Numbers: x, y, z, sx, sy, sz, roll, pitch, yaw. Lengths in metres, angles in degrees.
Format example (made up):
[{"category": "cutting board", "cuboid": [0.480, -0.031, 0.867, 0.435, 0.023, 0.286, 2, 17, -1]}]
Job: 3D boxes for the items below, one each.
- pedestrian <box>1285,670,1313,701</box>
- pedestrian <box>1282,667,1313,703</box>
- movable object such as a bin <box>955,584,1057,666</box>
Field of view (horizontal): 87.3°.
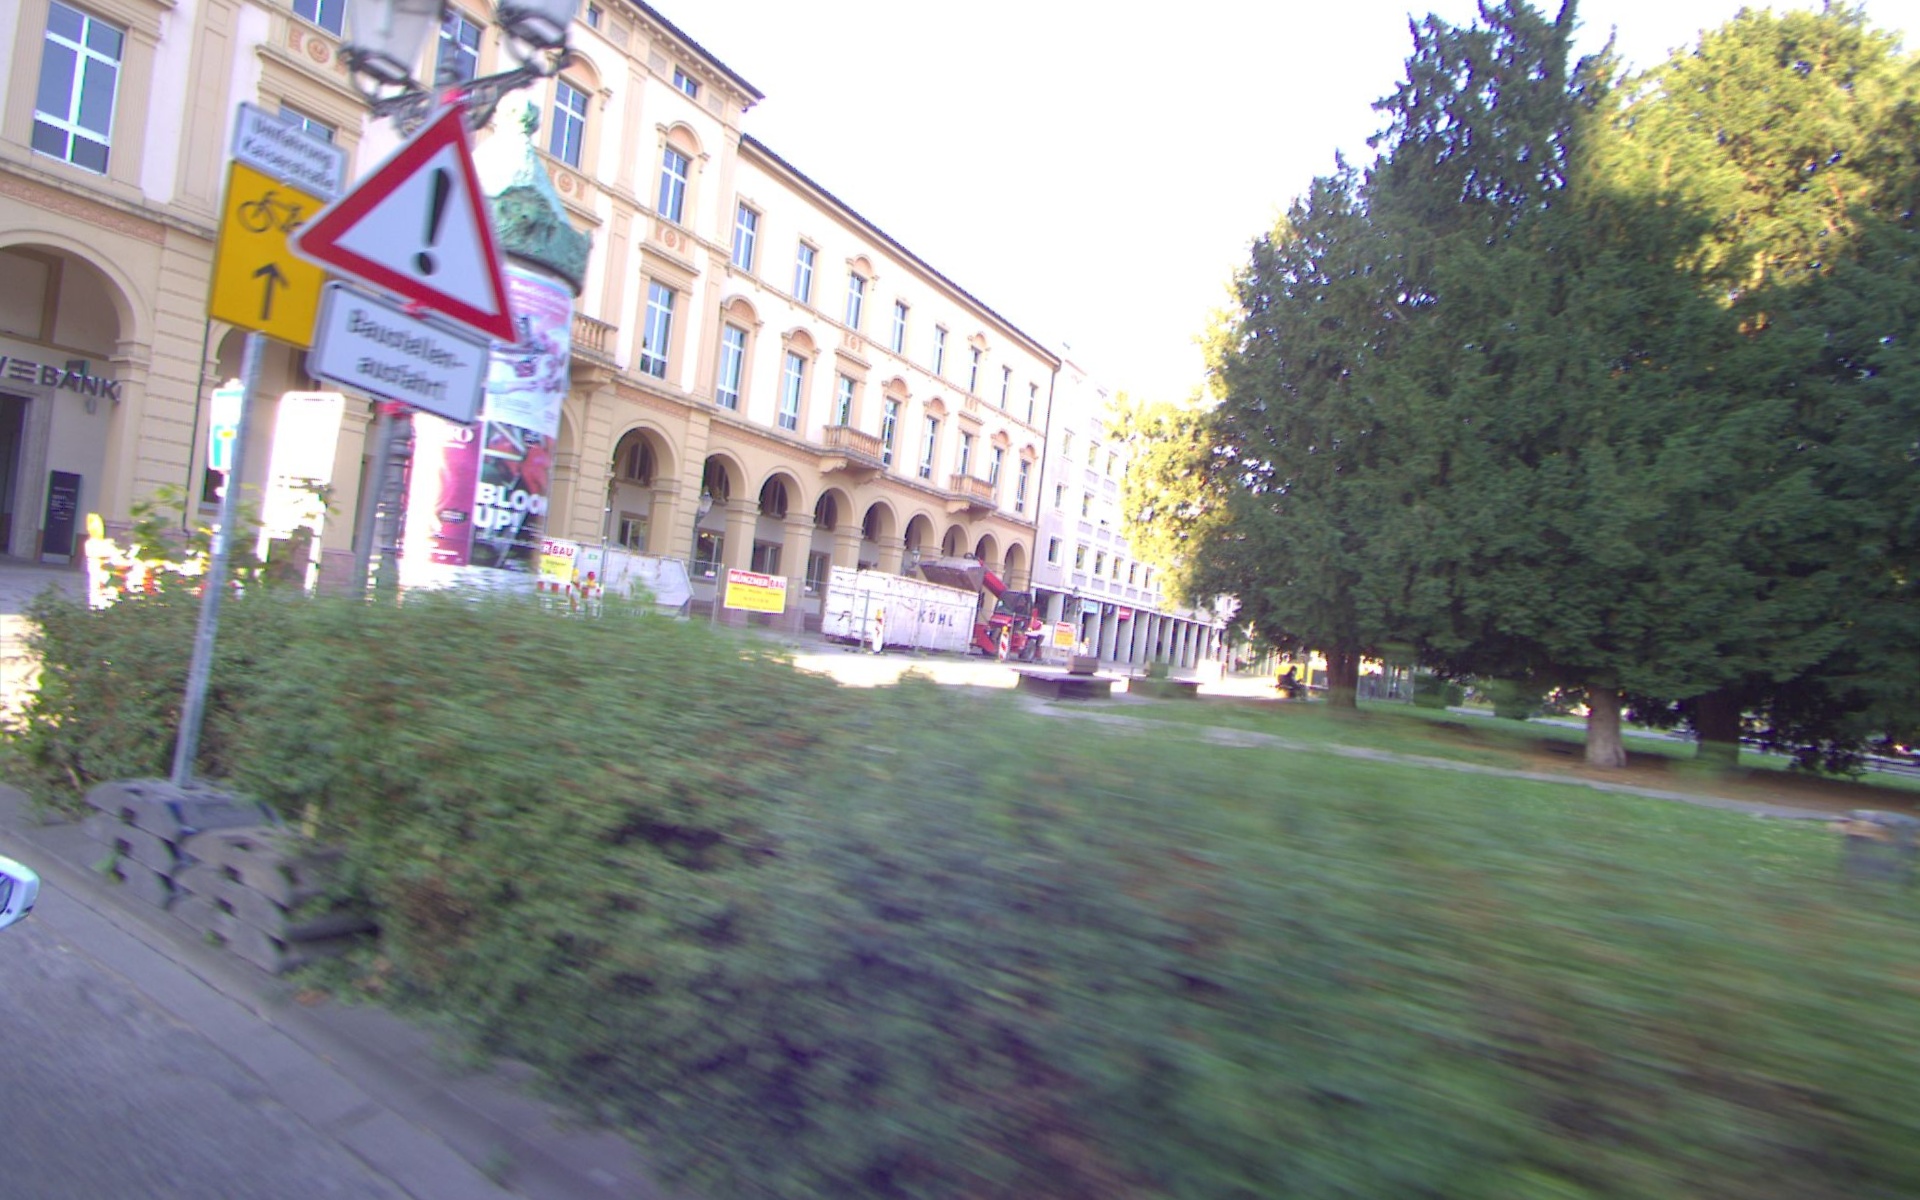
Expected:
[{"category": "pedestrian", "cuboid": [13.162, 3.320, 39.062, 0.819, 1.105, 0.709, 6, 0, 25]}, {"category": "pedestrian", "cuboid": [12.829, 3.227, 38.238, 0.910, 1.267, 0.709, 6, 0, 26]}, {"category": "movable object such as a bin", "cuboid": [2.052, 1.148, 43.308, 1.967, 3.044, 4.894, 7, -1, 31]}]
